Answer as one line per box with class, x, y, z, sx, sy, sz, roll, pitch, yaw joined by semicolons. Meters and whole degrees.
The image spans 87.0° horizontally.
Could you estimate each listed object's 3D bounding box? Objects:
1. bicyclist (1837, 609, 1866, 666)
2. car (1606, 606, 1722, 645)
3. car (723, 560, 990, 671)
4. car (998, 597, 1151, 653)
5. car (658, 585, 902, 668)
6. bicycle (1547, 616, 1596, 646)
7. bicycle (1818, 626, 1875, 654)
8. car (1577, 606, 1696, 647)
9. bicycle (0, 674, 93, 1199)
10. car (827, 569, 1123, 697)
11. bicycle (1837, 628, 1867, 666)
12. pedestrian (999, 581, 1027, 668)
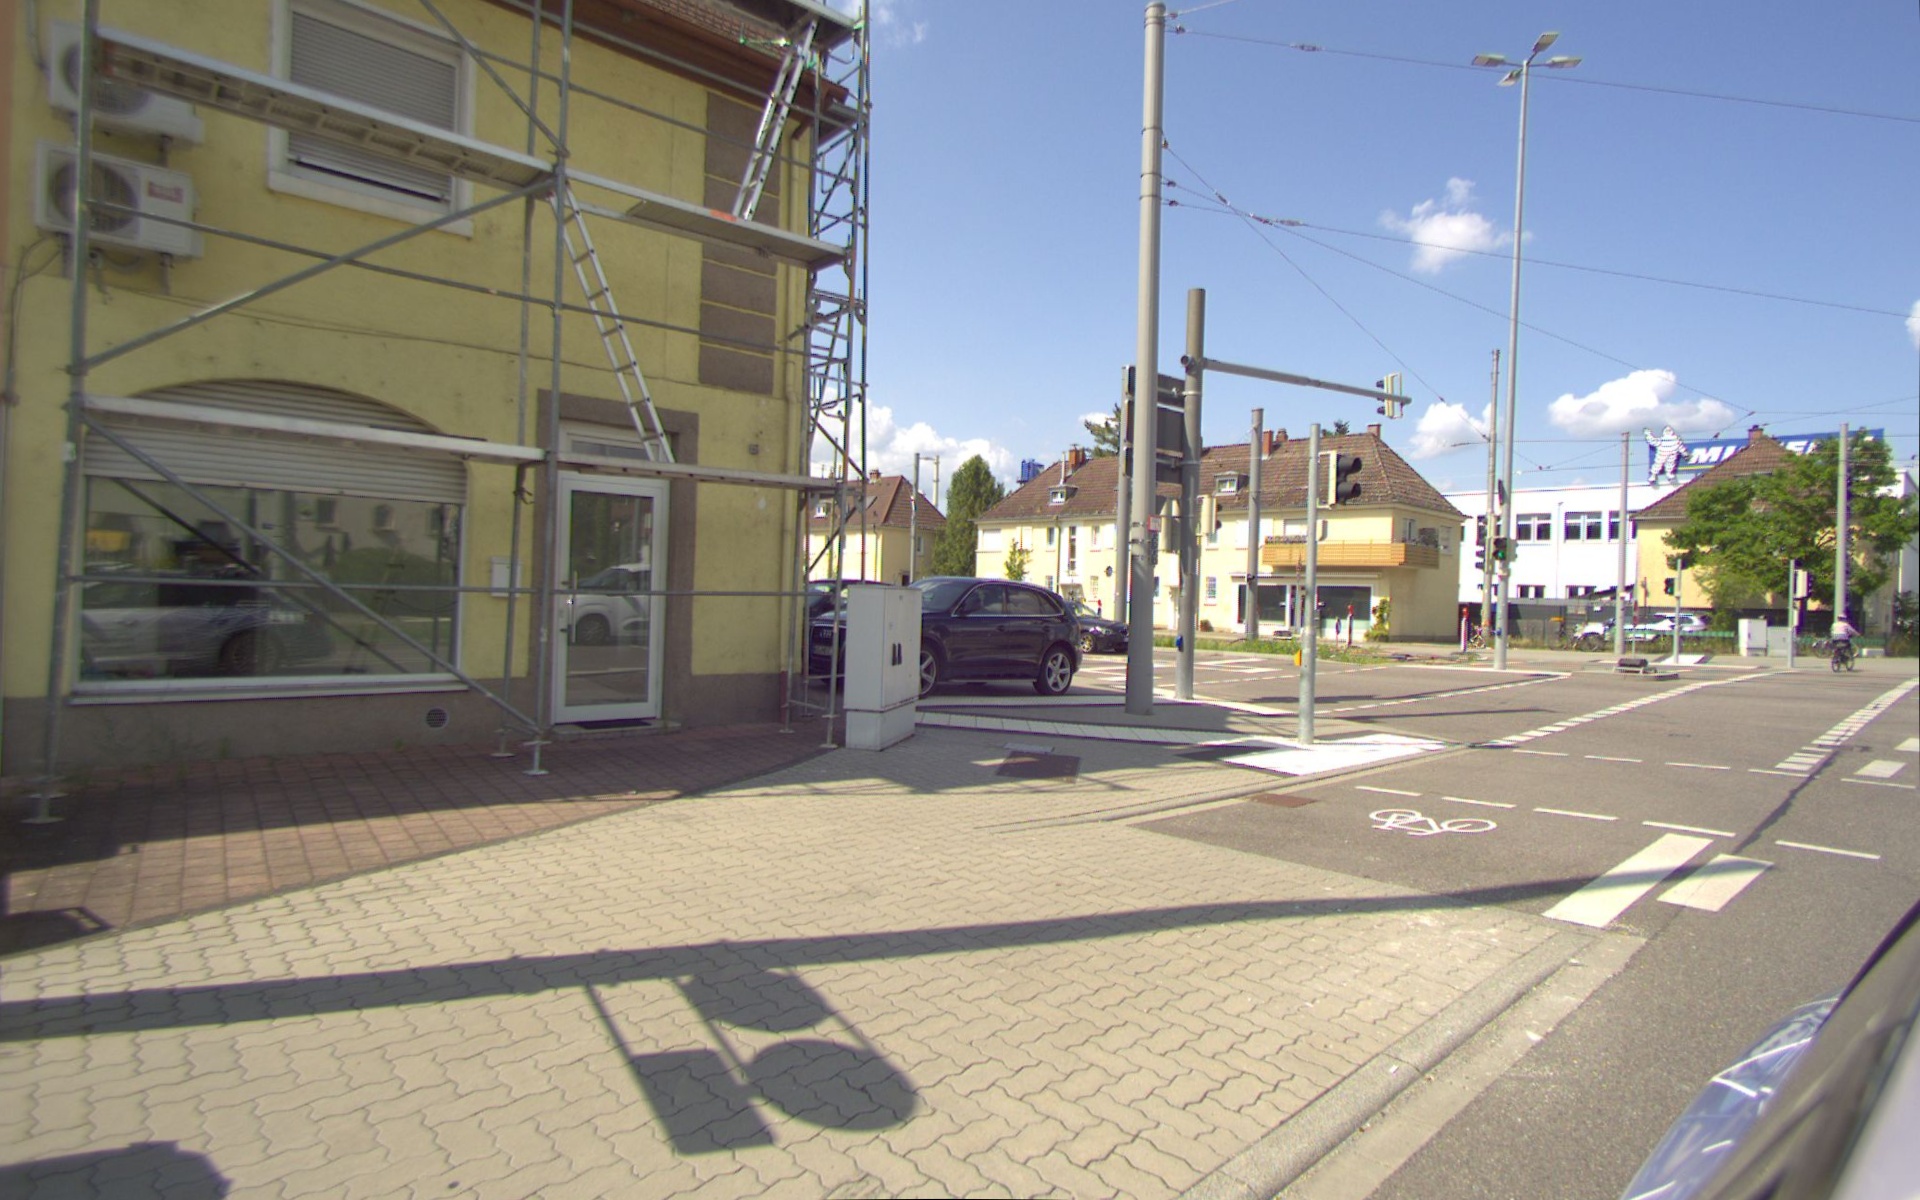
bicyclist;27.832;1.147;31.578;0.650;1.760;0.969;-1;-1;42
car;31.867;1.120;45.898;4.105;1.617;1.772;1;-1;44
car;-1.654;0.234;16.910;4.058;1.616;1.997;0;-1;-41
car;3.255;0.669;29.420;1.710;1.345;4.321;0;2;-43
car;-3.239;0.446;18.642;4.058;1.369;1.871;0;-1;-41
bicycle;23.862;1.201;39.519;1.555;1.152;0.378;0;-1;22
bicycle;33.382;1.513;38.104;1.722;1.031;0.463;0;-1;-1
car;29.576;1.139;44.299;4.105;1.617;1.772;1;-1;44
bicycle;-2.858;0.750;1.784;0.828;1.089;1.939;3;1;44
car;0.298;0.422;14.854;4.058;1.616;1.997;0;-1;-41
bicycle;27.809;1.444;31.546;0.650;1.132;1.563;-1;-1;42
pedestrian;1.036;0.472;19.784;0.396;1.664;0.544;-1;-1;21
